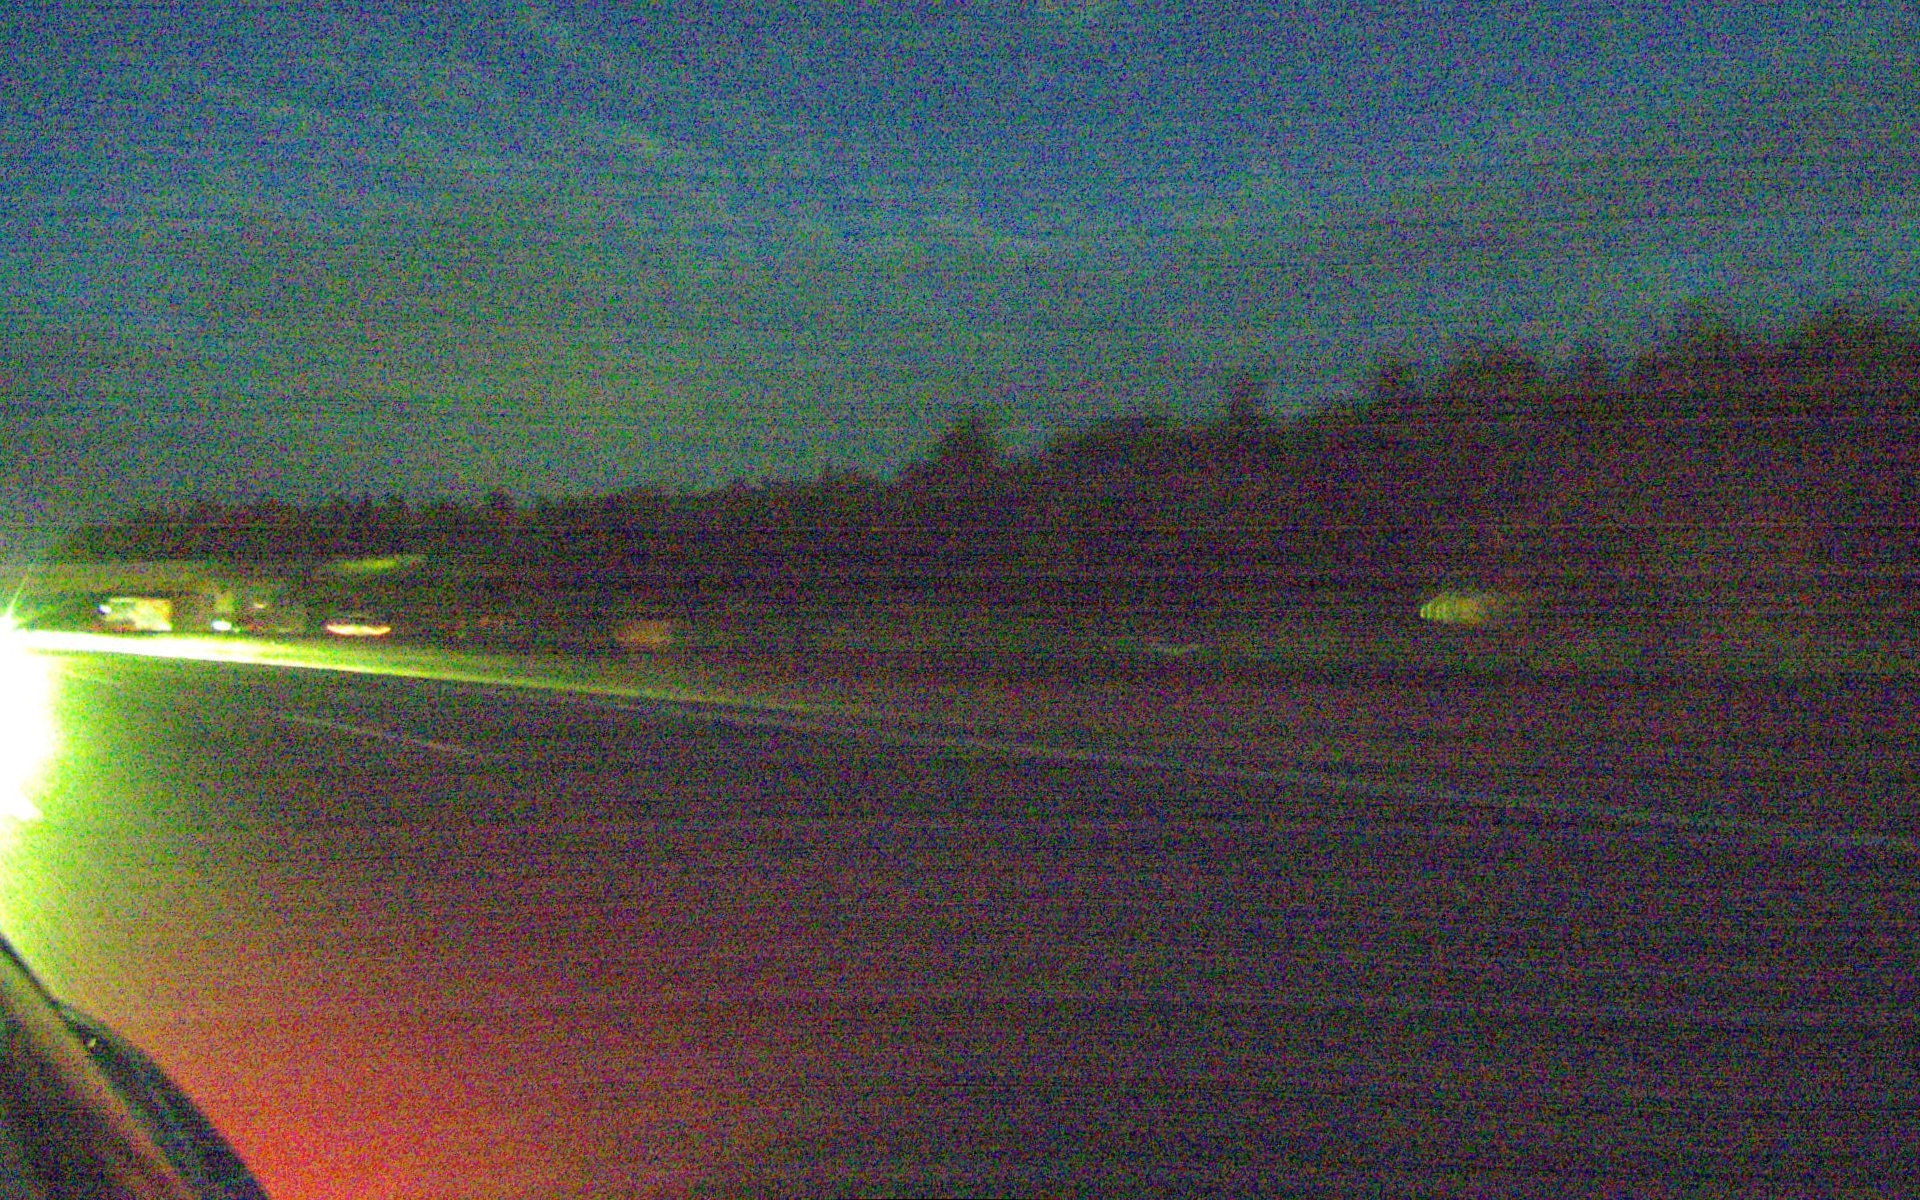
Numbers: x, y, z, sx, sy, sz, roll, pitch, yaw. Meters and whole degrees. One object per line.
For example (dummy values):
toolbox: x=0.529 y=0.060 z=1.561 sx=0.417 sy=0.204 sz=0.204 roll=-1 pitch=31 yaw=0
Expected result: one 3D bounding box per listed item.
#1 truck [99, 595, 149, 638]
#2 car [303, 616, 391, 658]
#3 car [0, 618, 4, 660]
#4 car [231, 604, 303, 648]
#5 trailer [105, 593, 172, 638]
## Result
truck: x=-85.960 y=1.683 z=104.020 sx=6.745 sy=4.265 sz=3.024 roll=-1 pitch=-1 yaw=42
car: x=-31.843 y=1.887 z=52.495 sx=5.740 sy=2.029 sz=2.309 roll=-1 pitch=-1 yaw=41
car: x=-42.369 y=1.677 z=43.040 sx=5.939 sy=1.734 sz=1.973 roll=-1 pitch=-1 yaw=41
car: x=-50.132 y=1.849 z=73.128 sx=7.134 sy=3.052 sz=2.467 roll=-1 pitch=-1 yaw=40
trailer: x=-80.822 y=1.557 z=99.417 sx=13.035 sy=4.265 sz=3.024 roll=-1 pitch=-1 yaw=42
